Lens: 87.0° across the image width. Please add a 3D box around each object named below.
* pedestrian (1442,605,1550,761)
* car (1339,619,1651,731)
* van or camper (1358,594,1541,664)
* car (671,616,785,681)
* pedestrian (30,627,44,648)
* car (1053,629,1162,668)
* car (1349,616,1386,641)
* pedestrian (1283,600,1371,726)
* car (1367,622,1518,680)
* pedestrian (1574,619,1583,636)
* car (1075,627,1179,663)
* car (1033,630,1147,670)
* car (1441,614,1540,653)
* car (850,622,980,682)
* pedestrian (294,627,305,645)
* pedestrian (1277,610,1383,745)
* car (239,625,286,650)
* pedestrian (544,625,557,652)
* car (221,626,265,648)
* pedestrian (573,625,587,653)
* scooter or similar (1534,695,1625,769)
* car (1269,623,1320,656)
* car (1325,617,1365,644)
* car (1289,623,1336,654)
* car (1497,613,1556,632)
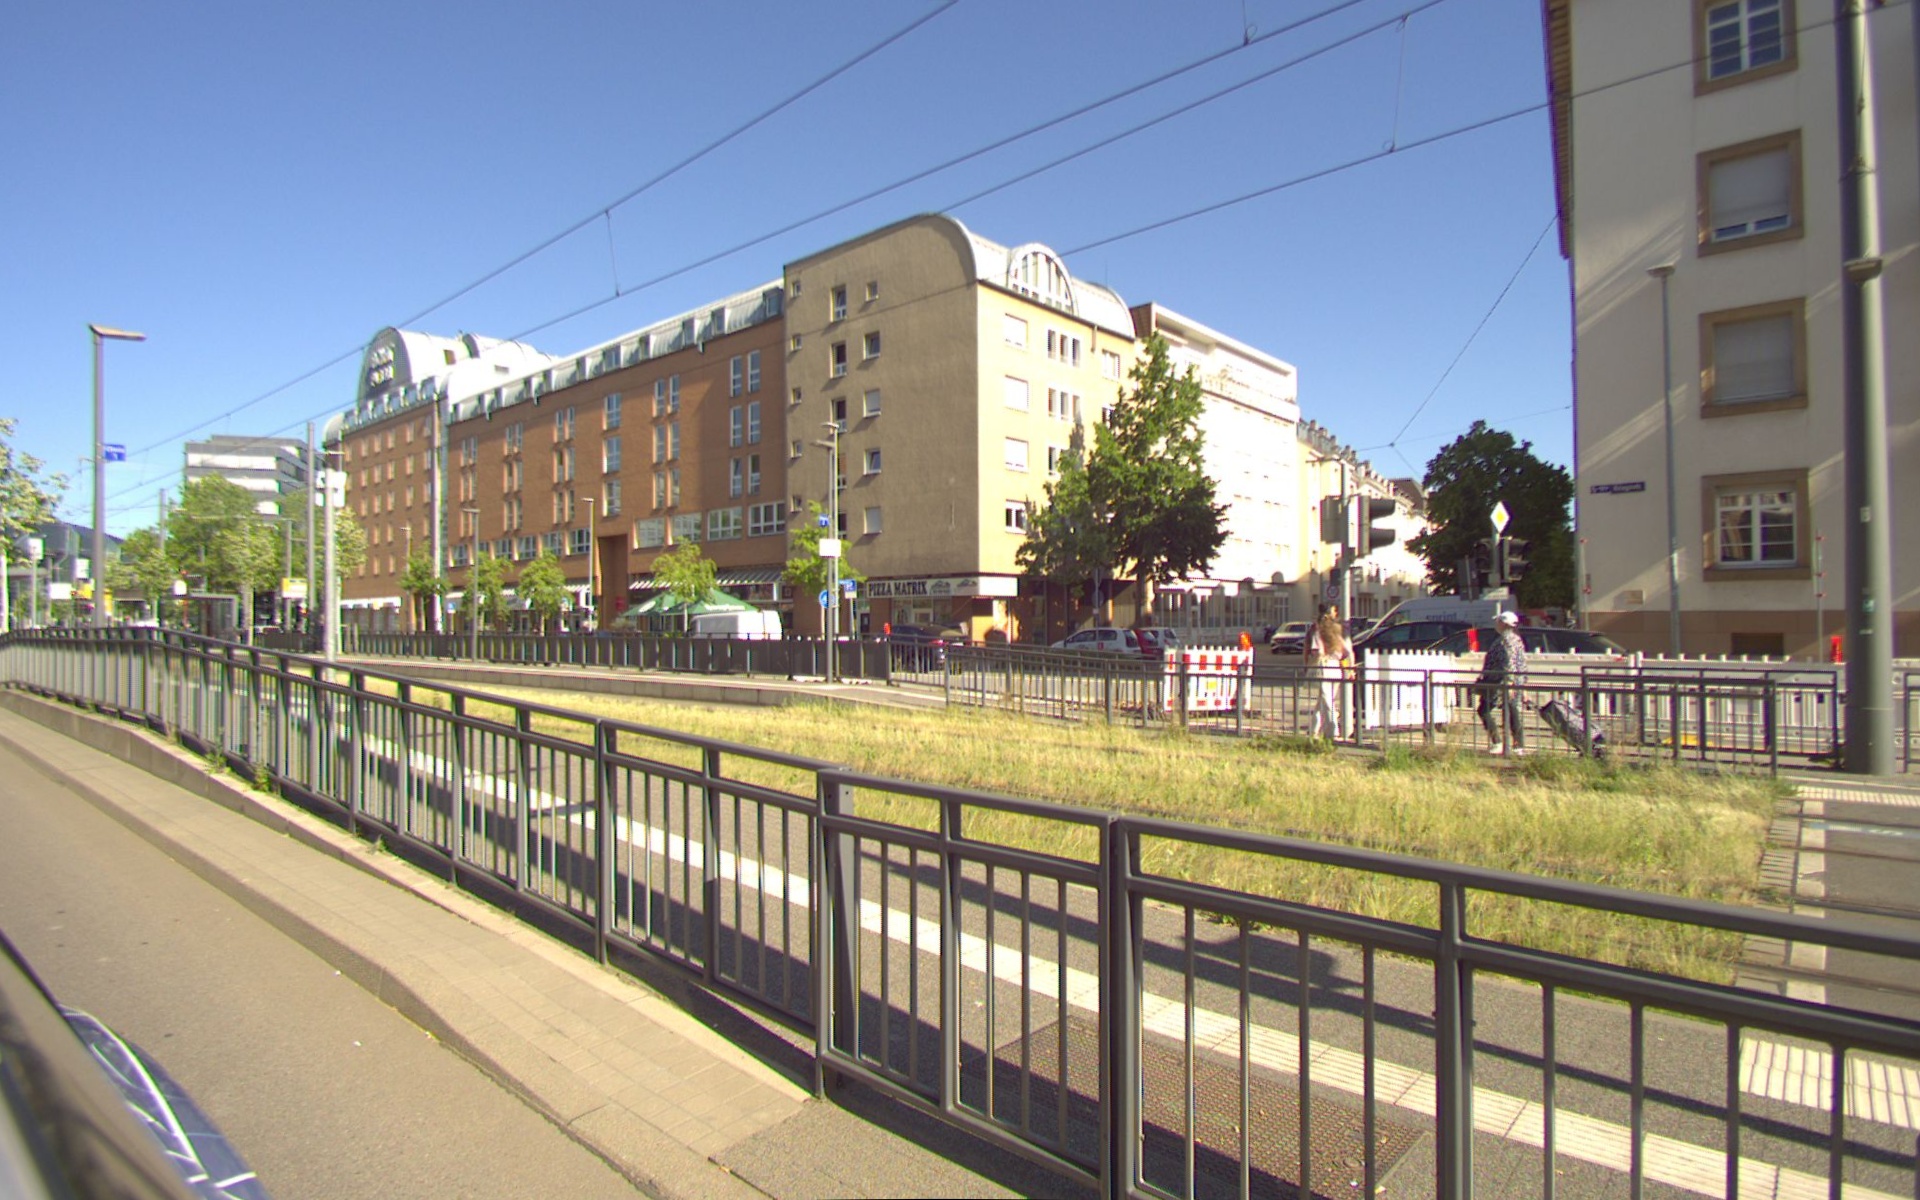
[{"bbox_3d":[5.658,0.841,10.683,0.815,1.548,0.787,-2,-1,41],"label":"pedestrian"},{"bbox_3d":[8.267,1.080,15.821,3.998,1.527,1.797,-2,-2,41],"label":"car"},{"bbox_3d":[18.016,1.070,37.401,5.933,2.419,1.979,-1,-2,30],"label":"van or camper"},{"bbox_3d":[-9.308,1.863,40.214,1.969,2.388,5.653,0,-2,-41],"label":"car"},{"bbox_3d":[-72.720,2.954,79.717,0.599,1.581,0.730,0,-1,-21],"label":"pedestrian"},{"bbox_3d":[5.879,1.903,40.384,3.980,1.462,1.768,-1,-2,28],"label":"car"},{"bbox_3d":[28.228,1.936,70.091,1.947,1.674,3.962,-1,-2,28],"label":"car"},{"bbox_3d":[5.452,0.902,15.046,0.855,1.794,0.910,0,-1,-44],"label":"pedestrian"},{"bbox_3d":[13.526,1.388,28.436,3.662,1.533,1.673,-1,-2,32],"label":"car"},{"bbox_3d":[64.489,2.913,105.487,0.687,1.768,0.807,-2,-2,34],"label":"pedestrian"},{"bbox_3d":[6.995,1.867,42.477,3.980,1.462,1.768,-1,-2,28],"label":"car"},{"bbox_3d":[4.950,1.876,38.551,3.980,1.462,1.768,-1,-2,28],"label":"car"},{"bbox_3d":[25.227,1.578,48.203,3.990,1.789,1.722,-1,-2,35],"label":"car"},{"bbox_3d":[-1.467,1.614,32.078,3.997,1.773,1.796,-2,-2,40],"label":"car"},{"bbox_3d":[-65.438,3.587,100.217,0.779,1.769,0.707,-2,-2,41],"label":"pedestrian"},{"bbox_3d":[4.525,0.910,12.374,0.895,1.548,0.869,0,-1,-42],"label":"pedestrian"},{"bbox_3d":[-51.260,2.739,74.355,3.998,1.696,1.973,-1,0,41],"label":"car"},{"bbox_3d":[-28.200,2.634,69.731,0.644,1.854,0.614,-2,-2,39],"label":"pedestrian"},{"bbox_3d":[-57.651,2.948,81.327,3.998,1.696,1.973,-1,0,41],"label":"car"},{"bbox_3d":[-24.776,2.531,65.993,0.644,1.854,0.614,-2,-2,41],"label":"pedestrian"},{"bbox_3d":[6.343,1.335,10.372,0.709,0.656,0.509,-2,-1,41],"label":"scooter or similar"},{"bbox_3d":[17.752,2.089,53.653,1.947,1.674,3.962,-1,-2,28],"label":"car"},{"bbox_3d":[24.845,1.927,65.204,1.947,1.674,3.962,-1,-2,28],"label":"car"},{"bbox_3d":[20.080,2.182,57.630,1.947,1.674,3.962,-1,-2,28],"label":"car"},{"bbox_3d":[44.316,1.781,79.265,3.853,1.472,1.740,-1,-2,24],"label":"car"}]
